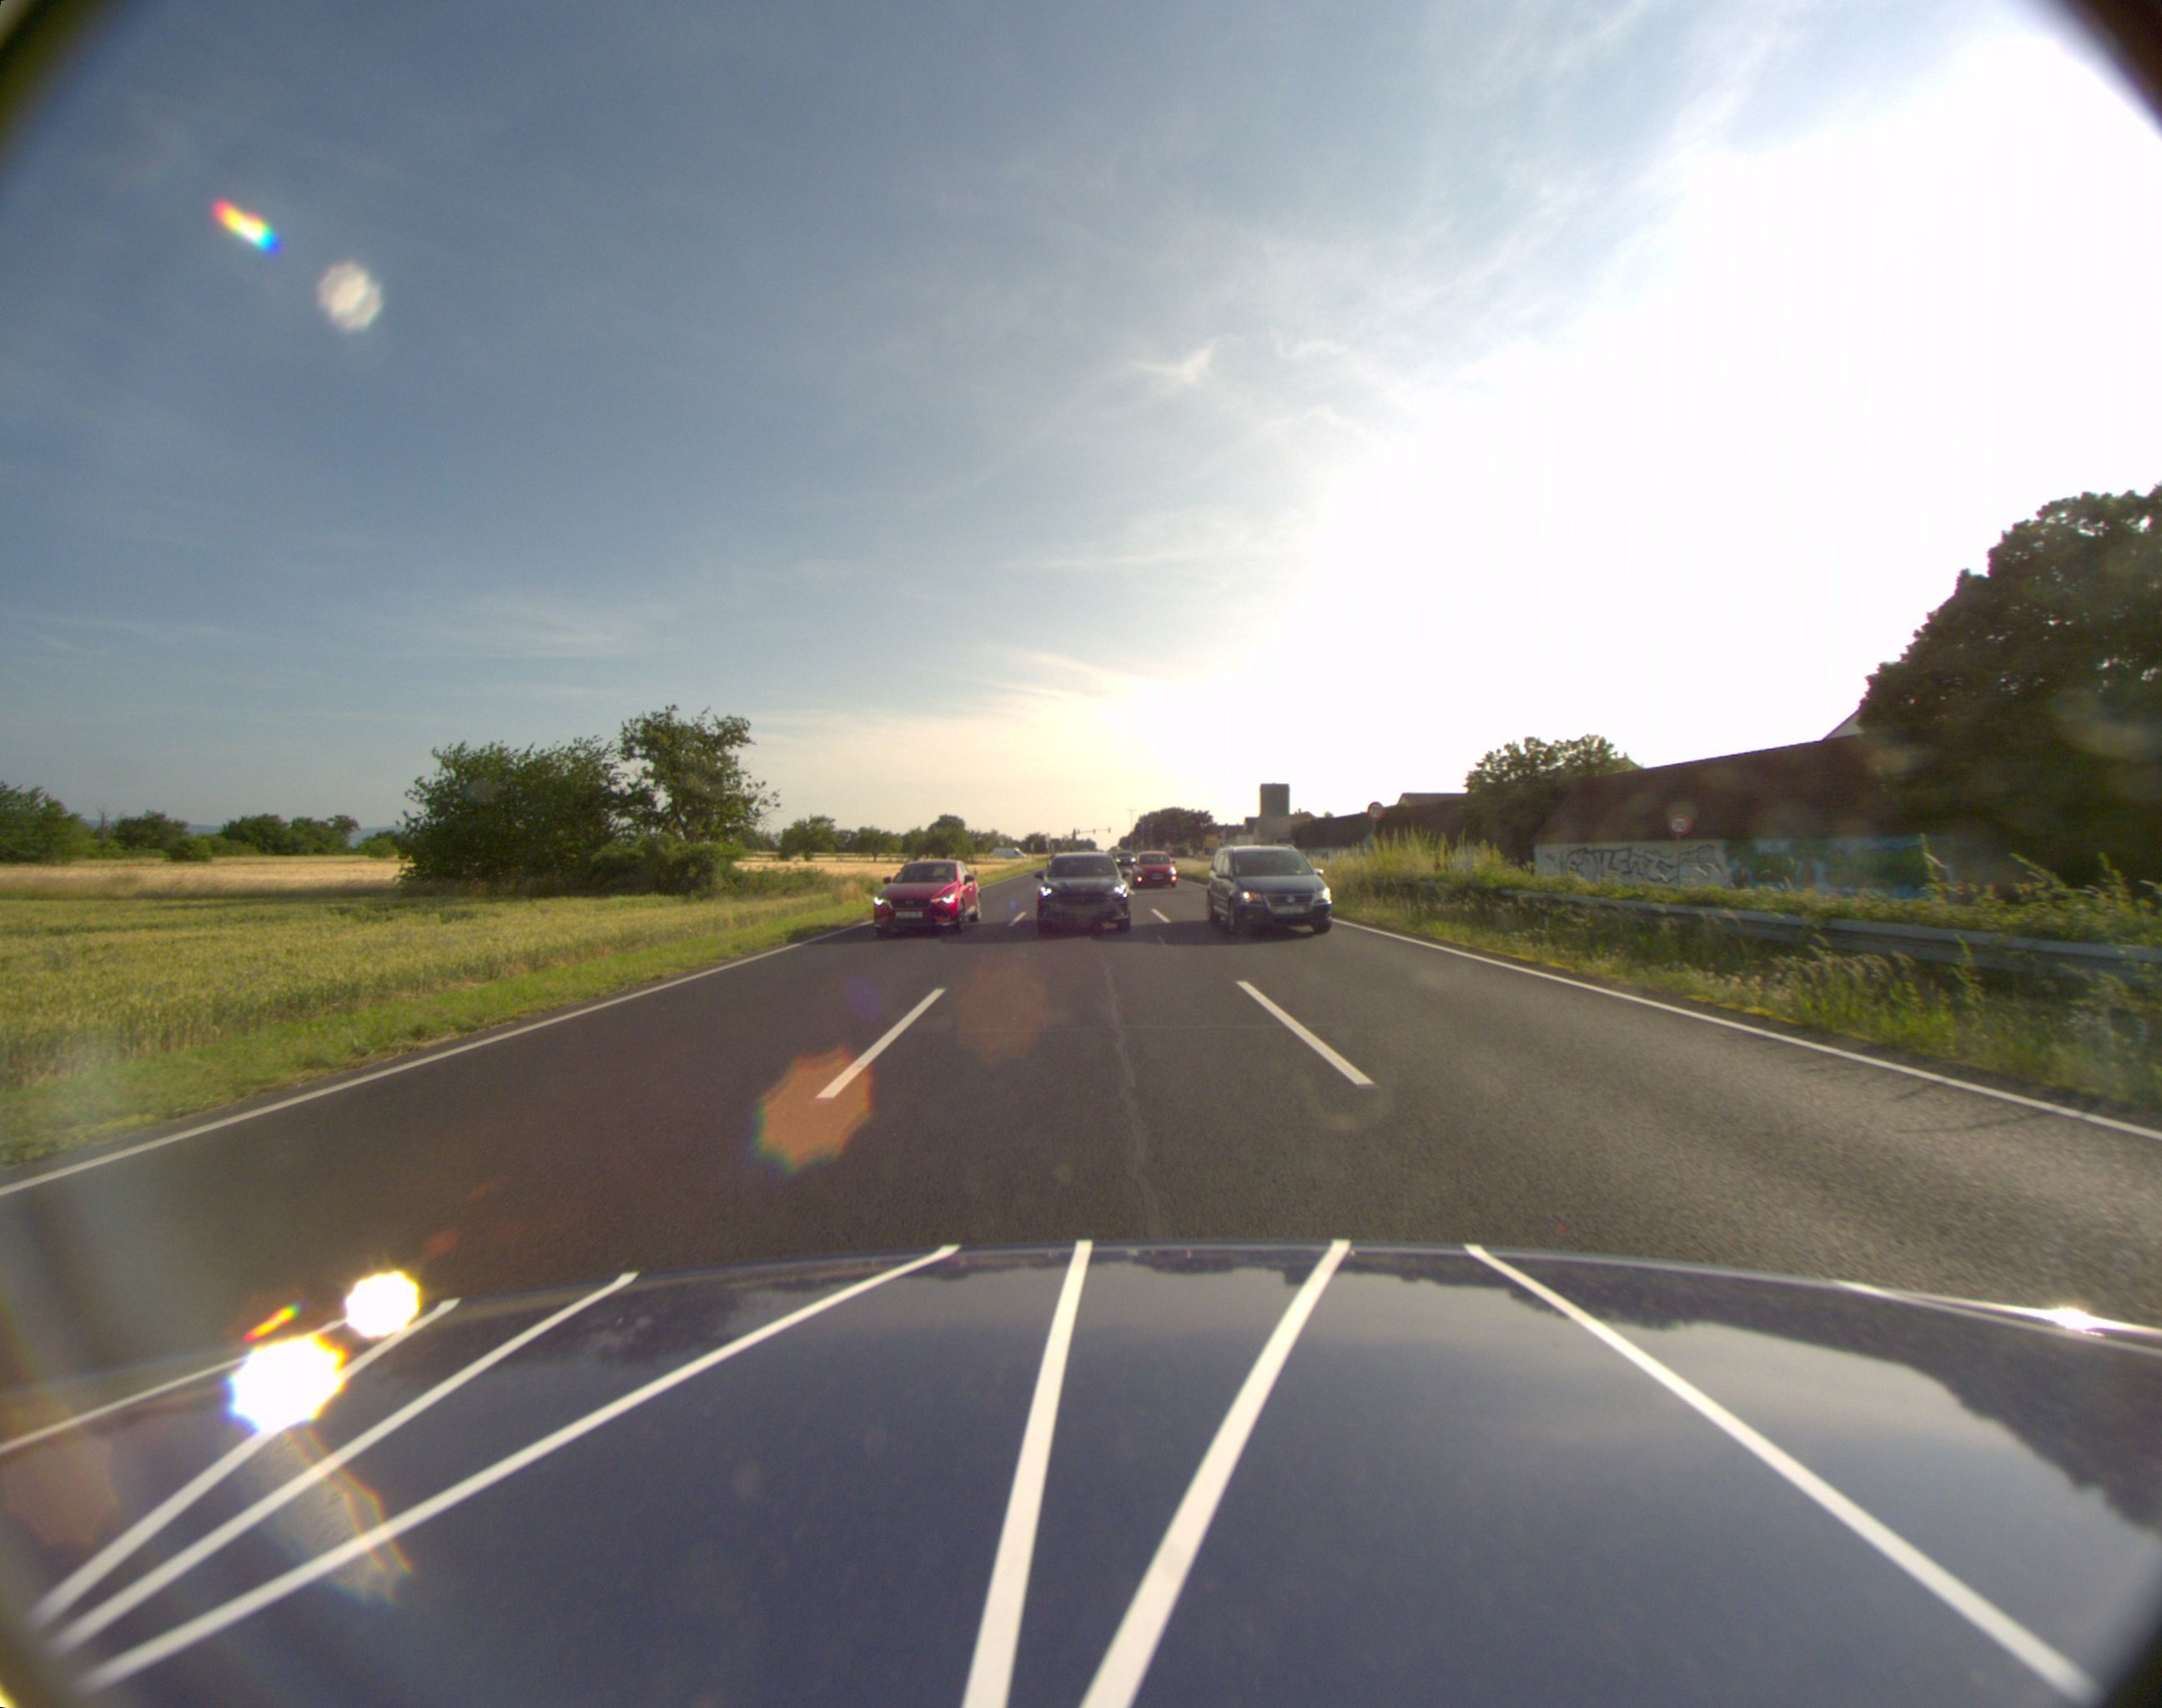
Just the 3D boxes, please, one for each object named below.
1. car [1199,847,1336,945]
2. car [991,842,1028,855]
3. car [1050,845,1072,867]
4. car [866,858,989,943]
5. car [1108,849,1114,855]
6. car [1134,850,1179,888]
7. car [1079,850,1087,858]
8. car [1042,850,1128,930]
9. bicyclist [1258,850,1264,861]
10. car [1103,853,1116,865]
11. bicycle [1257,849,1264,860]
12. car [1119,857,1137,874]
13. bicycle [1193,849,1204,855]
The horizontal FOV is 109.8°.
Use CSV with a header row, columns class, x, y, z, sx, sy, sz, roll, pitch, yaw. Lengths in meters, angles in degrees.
class,x,y,z,sx,sy,sz,roll,pitch,yaw
car,3.572,0.699,15.392,1.777,1.612,4.681,-1,1,2
car,-14.459,-1.138,154.238,7.201,2.654,2.094,0,2,15
car,-1.921,0.139,72.402,1.999,2.002,3.999,-2,1,-1
car,-3.252,0.922,16.982,1.708,1.497,4.500,-2,1,1
car,9.882,-0.628,248.423,1.998,2.002,4.000,-2,1,2
car,3.366,0.639,34.640,1.748,1.537,4.000,-2,1,2
car,0.538,-0.078,203.127,1.999,2.002,3.998,-2,1,-1
car,0.171,0.767,18.459,1.791,1.594,4.339,-2,1,2
bicyclist,32.045,0.237,135.450,0.772,2.002,1.062,-2,2,1
car,4.988,0.920,134.381,1.999,2.002,3.998,-2,1,-1
bicycle,32.017,0.080,135.504,0.755,1.739,2.607,-2,1,2
car,4.772,1.123,77.356,1.718,1.521,4.000,-2,1,2
bicycle,25.845,-0.474,167.136,2.159,1.185,0.904,1,2,10
